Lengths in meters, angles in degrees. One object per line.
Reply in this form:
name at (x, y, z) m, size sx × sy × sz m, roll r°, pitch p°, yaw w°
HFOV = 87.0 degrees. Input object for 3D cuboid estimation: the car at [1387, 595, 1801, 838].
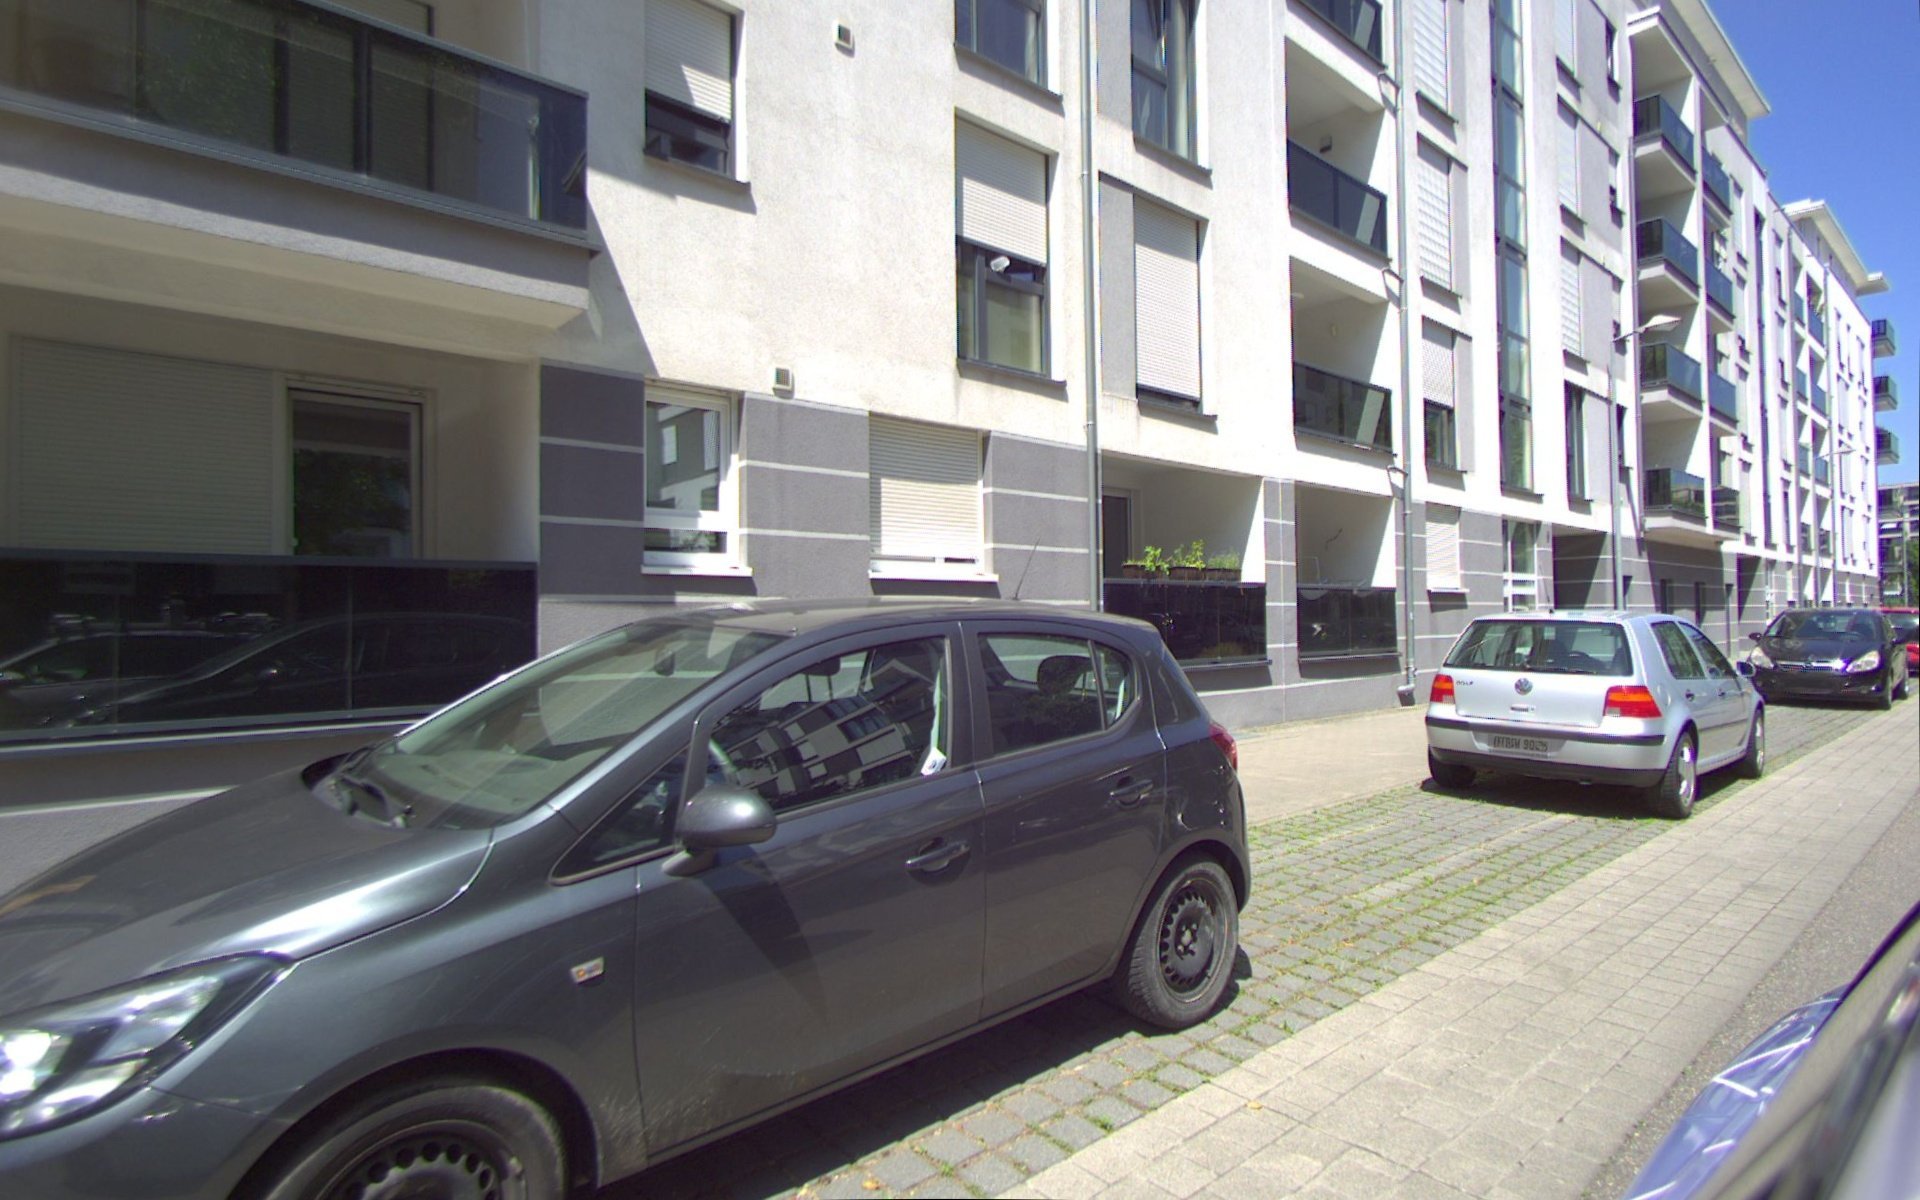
car at (5.490, 0.741, 8.520) m, size 4.275 × 1.524 × 1.837 m, roll 0°, pitch 0°, yaw -42°

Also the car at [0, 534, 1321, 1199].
car at (-0.719, 0.665, 3.206) m, size 4.155 × 1.504 × 1.741 m, roll 0°, pitch -1°, yaw -42°

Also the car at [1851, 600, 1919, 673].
car at (21.028, 0.767, 22.334) m, size 3.611 × 1.504 × 1.598 m, roll 0°, pitch 0°, yaw -41°

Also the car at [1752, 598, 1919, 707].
car at (13.902, 0.721, 15.900) m, size 4.047 × 1.481 × 1.645 m, roll 0°, pitch 0°, yaw -42°

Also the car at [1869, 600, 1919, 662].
car at (24.946, 0.758, 26.121) m, size 4.184 × 1.506 × 1.740 m, roll 0°, pitch 0°, yaw -41°
